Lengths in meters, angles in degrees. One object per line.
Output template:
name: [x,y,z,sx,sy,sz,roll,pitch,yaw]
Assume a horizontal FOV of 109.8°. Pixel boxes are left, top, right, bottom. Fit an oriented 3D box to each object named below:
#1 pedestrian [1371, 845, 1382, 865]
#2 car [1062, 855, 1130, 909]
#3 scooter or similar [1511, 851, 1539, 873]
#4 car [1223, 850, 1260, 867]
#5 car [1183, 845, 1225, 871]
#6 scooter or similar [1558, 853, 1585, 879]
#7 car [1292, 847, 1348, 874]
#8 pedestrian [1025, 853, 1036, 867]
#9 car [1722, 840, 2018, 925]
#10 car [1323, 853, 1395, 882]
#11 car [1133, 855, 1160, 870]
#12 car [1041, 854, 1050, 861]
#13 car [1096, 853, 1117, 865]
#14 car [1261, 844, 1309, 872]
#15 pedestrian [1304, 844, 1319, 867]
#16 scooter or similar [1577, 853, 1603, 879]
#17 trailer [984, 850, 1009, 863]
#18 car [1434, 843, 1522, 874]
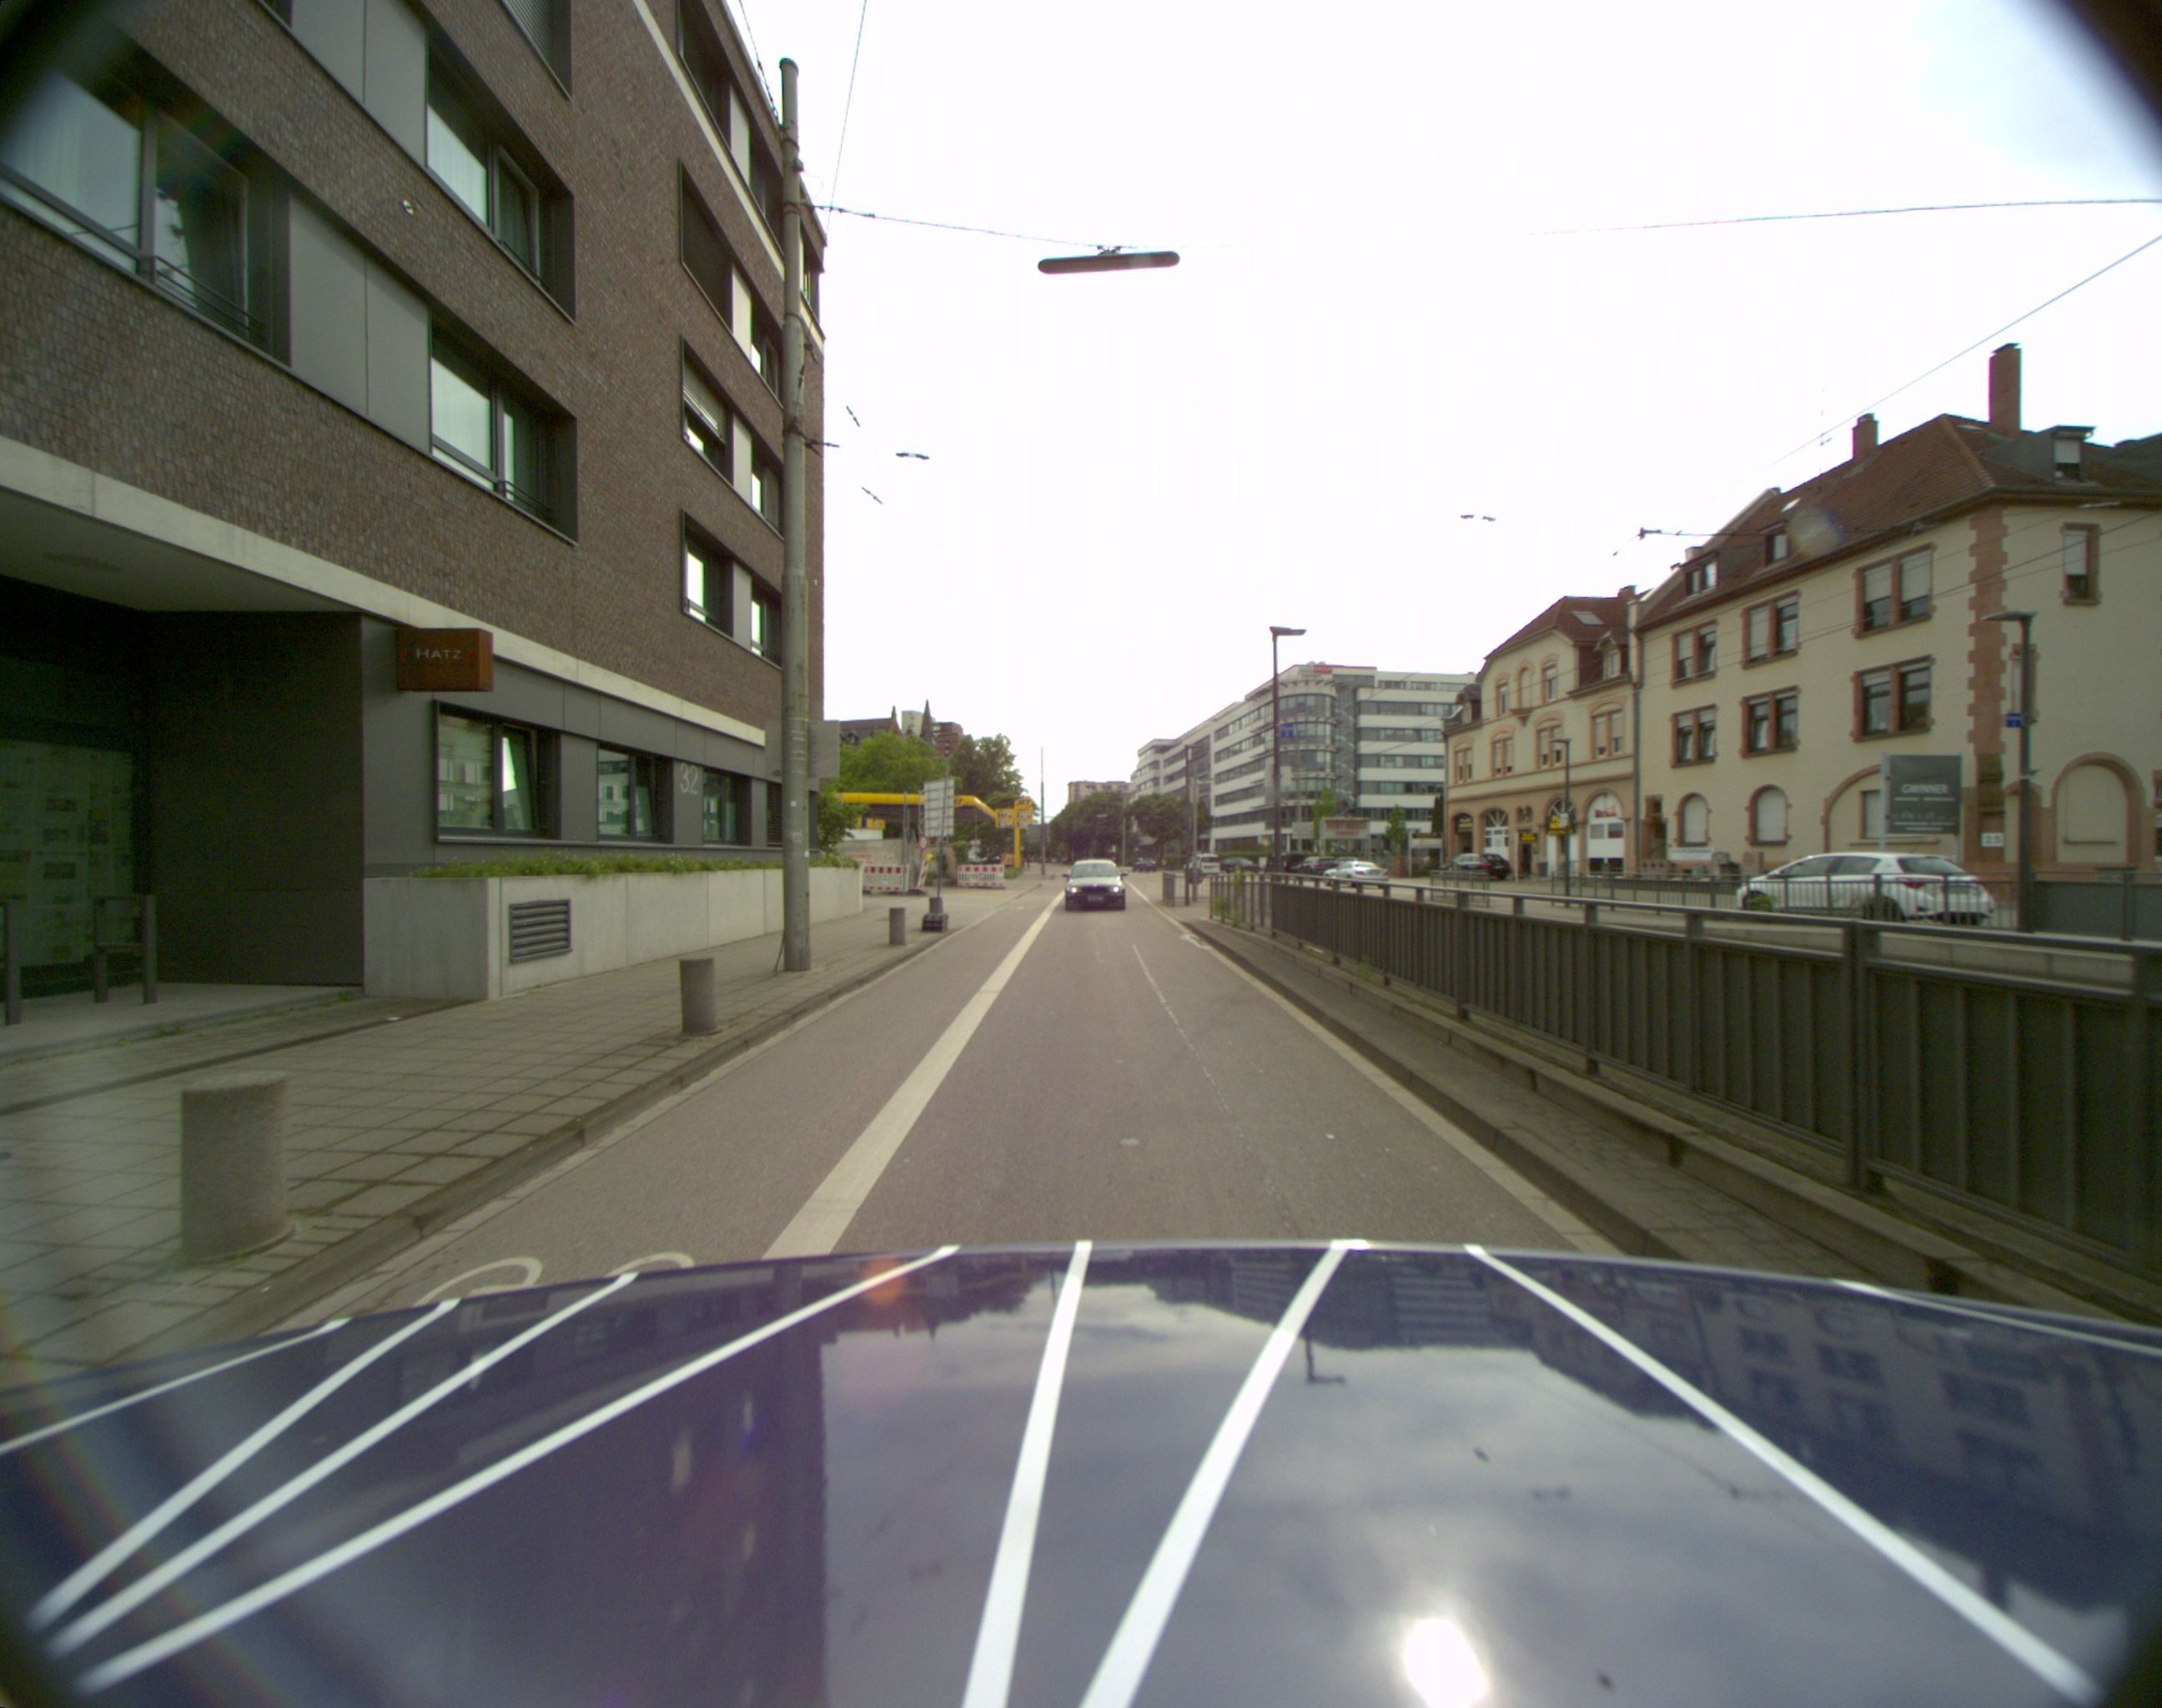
pedestrian: [25.461,0.079,65.522,0.636,1.764,0.761,-1,1,0]
car: [0.462,0.758,22.552,1.786,1.361,4.113,-1,1,2]
scooter or similar: [22.857,0.410,39.121,1.178,1.095,0.527,-3,1,-8]
car: [14.770,0.424,69.665,1.790,1.521,4.150,2,0,35]
car: [9.525,0.271,59.219,1.890,1.977,4.521,0,0,-9]
scooter or similar: [21.678,0.516,33.574,1.180,1.095,0.526,-2,1,-33]
car: [16.633,0.466,53.046,2.043,1.739,4.532,-2,0,-6]
pedestrian: [-6.119,0.719,92.198,0.871,1.738,0.848,2,1,-32]
car: [16.021,0.526,15.796,1.869,1.477,3.999,2,0,-2]
car: [13.669,0.638,37.629,1.756,1.291,3.830,0,1,-8]
car: [6.778,0.844,78.804,1.887,1.420,4.421,1,0,-7]
car: [-9.976,0.961,212.095,1.848,1.714,4.403,0,0,-10]
car: [3.443,0.673,103.528,1.911,1.464,4.815,1,0,-10]
car: [15.820,0.307,59.226,1.992,2.002,5.182,-2,1,-5]
pedestrian: [18.670,0.116,61.568,0.806,1.814,1.059,-1,1,-2]
scooter or similar: [21.998,0.517,32.823,1.180,1.095,0.526,-2,1,-33]
trailer: [-11.326,0.315,102.489,3.292,1.523,1.772,1,3,-6]
car: [22.047,0.233,42.425,1.999,1.484,4.900,-4,1,-4]
